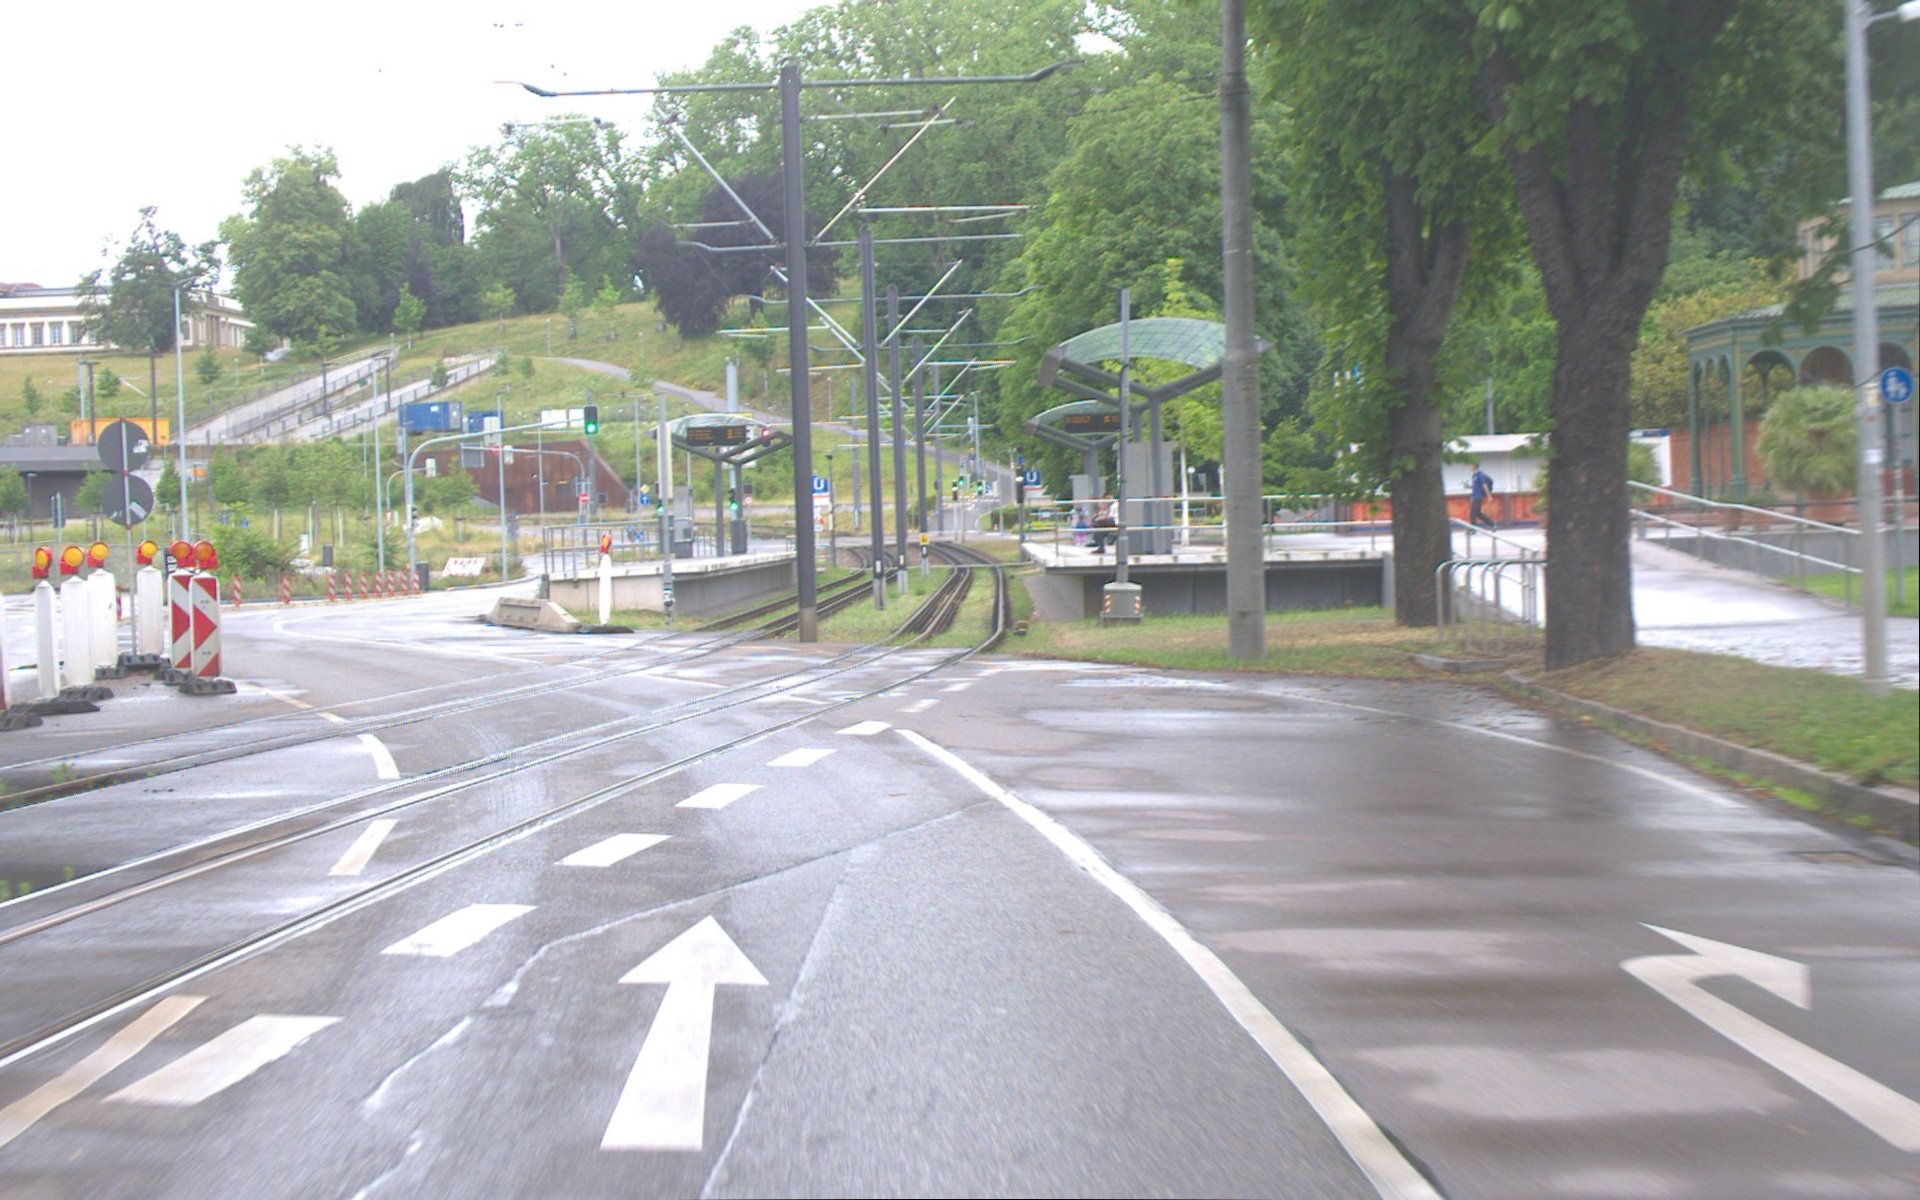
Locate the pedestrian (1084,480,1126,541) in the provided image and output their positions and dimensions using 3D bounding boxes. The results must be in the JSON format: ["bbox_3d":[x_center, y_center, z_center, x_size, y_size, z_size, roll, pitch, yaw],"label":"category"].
[{"bbox_3d":[2.744,-1.695,65.080,0.600,1.115,0.520,3,0,-15],"label":"pedestrian"}]

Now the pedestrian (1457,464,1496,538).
[{"bbox_3d":[12.830,-2.467,85.495,0.720,1.784,1.182,-3,1,1],"label":"pedestrian"}]

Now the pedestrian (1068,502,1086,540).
[{"bbox_3d":[3.204,-2.161,93.953,0.437,1.005,0.551,-2,1,1],"label":"pedestrian"}]
